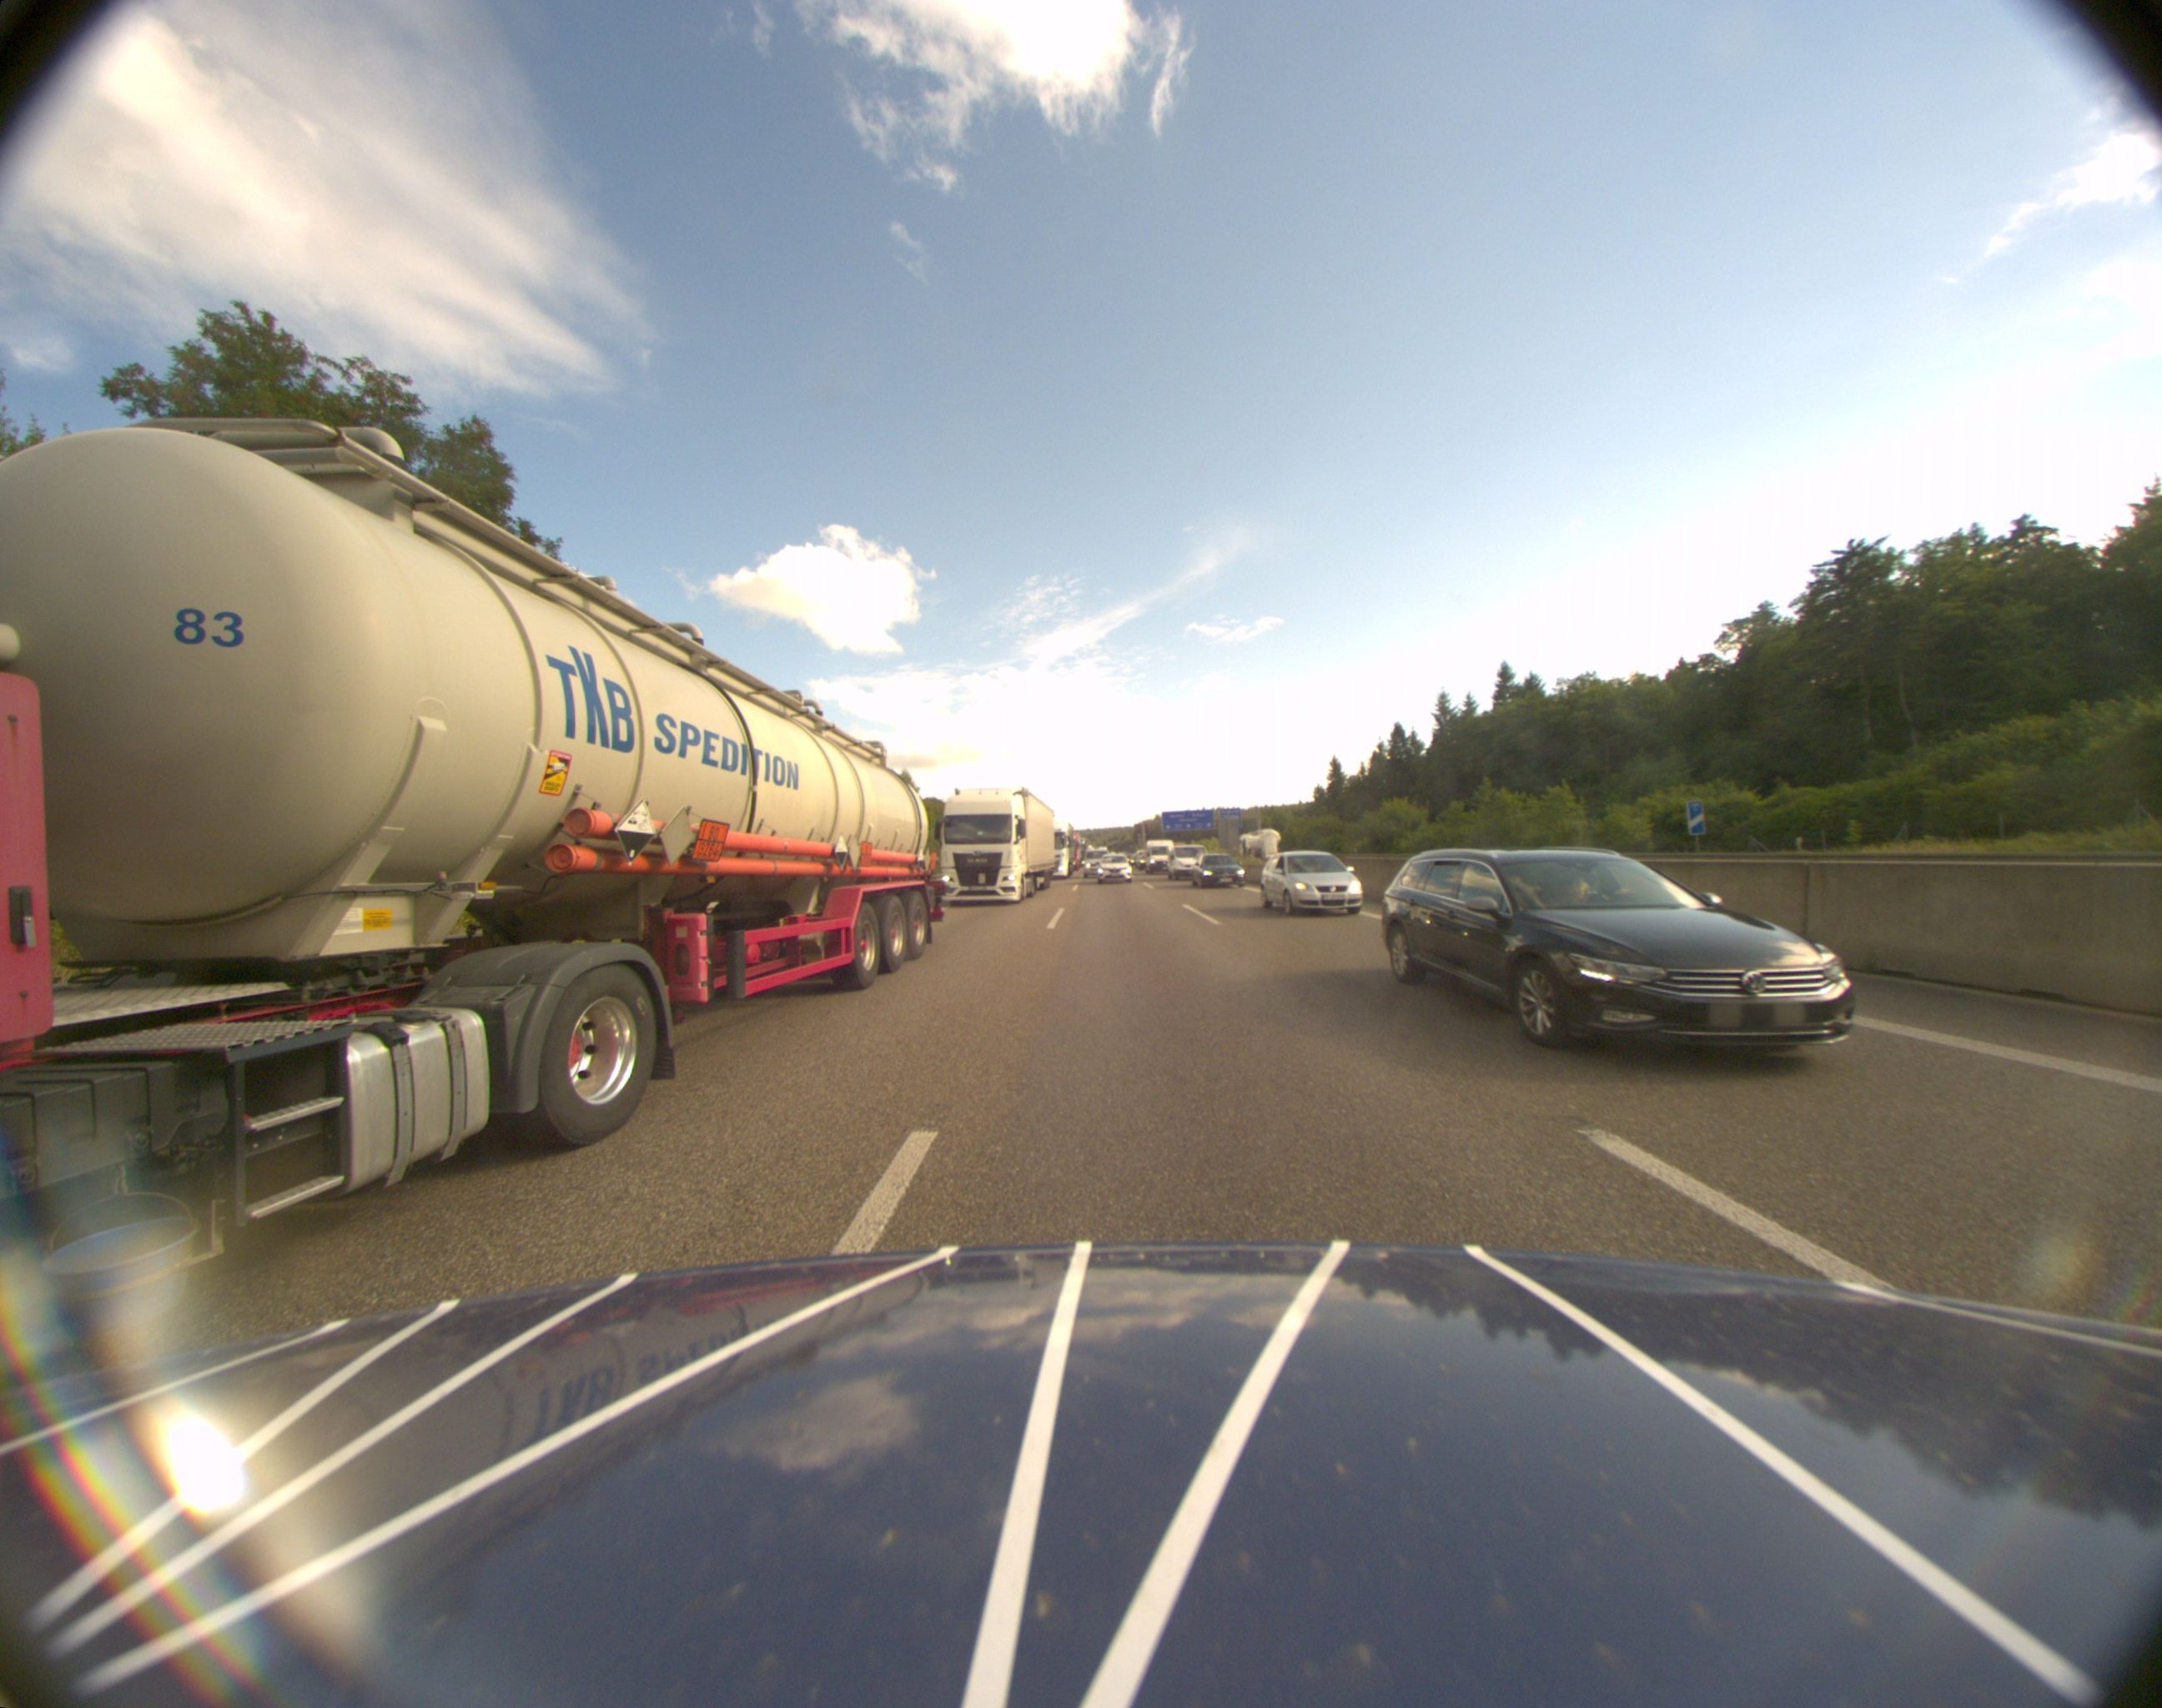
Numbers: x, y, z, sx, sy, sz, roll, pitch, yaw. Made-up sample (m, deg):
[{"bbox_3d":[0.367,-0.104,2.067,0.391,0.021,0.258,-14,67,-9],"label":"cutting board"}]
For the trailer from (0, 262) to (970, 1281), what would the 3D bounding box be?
[{"bbox_3d":[-3.758,-0.318,8.635,2.805,4.003,11.182,-2,0,2],"label":"trailer"}]

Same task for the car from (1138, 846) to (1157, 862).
[{"bbox_3d":[7.523,-0.002,86.576,1.920,1.785,3.811,-2,0,1],"label":"car"}]

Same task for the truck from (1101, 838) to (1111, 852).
[{"bbox_3d":[8.008,-3.002,242.767,2.840,4.178,12.045,-2,1,3],"label":"truck"}]

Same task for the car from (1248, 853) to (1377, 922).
[{"bbox_3d":[5.510,0.722,18.721,1.809,1.423,4.666,-2,0,1],"label":"car"}]

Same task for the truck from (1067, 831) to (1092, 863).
[{"bbox_3d":[-0.112,-0.986,108.232,2.840,4.178,12.045,-2,1,3],"label":"truck"}]

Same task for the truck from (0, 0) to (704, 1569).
[{"bbox_3d":[-4.026,-0.269,1.999,2.809,4.020,5.904,-2,1,2],"label":"truck"}]

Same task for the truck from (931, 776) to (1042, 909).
[{"bbox_3d":[-3.108,-0.373,26.565,2.840,4.048,5.708,-2,1,2],"label":"truck"}]

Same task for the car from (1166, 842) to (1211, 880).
[{"bbox_3d":[6.044,0.355,43.124,1.947,1.953,4.848,-2,0,1],"label":"car"}]

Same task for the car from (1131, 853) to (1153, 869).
[{"bbox_3d":[5.689,0.657,71.484,1.809,1.423,3.660,-2,0,1],"label":"car"}]

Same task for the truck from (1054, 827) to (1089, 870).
[{"bbox_3d":[-0.865,-0.664,82.429,2.840,4.178,12.045,-2,1,3],"label":"truck"}]

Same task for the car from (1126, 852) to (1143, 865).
[{"bbox_3d":[6.723,0.547,95.606,1.920,1.535,3.811,-2,0,1],"label":"car"}]

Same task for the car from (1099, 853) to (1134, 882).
[{"bbox_3d":[1.908,0.697,42.030,1.809,1.488,4.666,-1,0,1],"label":"car"}]

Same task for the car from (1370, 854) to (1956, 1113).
[{"bbox_3d":[4.294,0.780,6.780,1.915,1.469,4.569,-2,0,3],"label":"car"}]

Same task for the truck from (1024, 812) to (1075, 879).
[{"bbox_3d":[-2.035,-0.531,51.346,2.841,4.178,5.708,-2,0,2],"label":"truck"}]

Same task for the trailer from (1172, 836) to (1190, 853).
[{"bbox_3d":[25.581,-2.464,194.325,2.841,4.178,13.561,-2,1,1],"label":"trailer"}]

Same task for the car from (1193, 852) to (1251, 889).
[{"bbox_3d":[6.002,0.672,32.758,1.809,1.423,3.994,-2,0,1],"label":"car"}]

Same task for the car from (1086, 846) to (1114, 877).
[{"bbox_3d":[1.325,0.481,52.813,1.809,2.052,4.770,-2,0,1],"label":"car"}]

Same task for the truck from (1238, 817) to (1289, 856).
[{"bbox_3d":[22.042,-2.105,92.812,2.939,4.329,13.909,-2,1,1],"label":"truck"}]

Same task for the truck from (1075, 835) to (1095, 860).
[{"bbox_3d":[0.801,-1.247,136.550,2.840,4.178,12.045,-2,1,3],"label":"truck"}]

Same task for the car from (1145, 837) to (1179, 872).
[{"bbox_3d":[6.102,0.020,57.642,2.054,2.557,5.861,-1,0,1],"label":"car"}]

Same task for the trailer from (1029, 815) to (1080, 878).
[{"bbox_3d":[-1.802,-0.559,58.439,2.841,4.177,13.613,-2,0,2],"label":"trailer"}]

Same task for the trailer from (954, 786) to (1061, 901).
[{"bbox_3d":[-2.817,-0.416,33.957,2.832,4.047,13.372,-2,0,2],"label":"trailer"}]
